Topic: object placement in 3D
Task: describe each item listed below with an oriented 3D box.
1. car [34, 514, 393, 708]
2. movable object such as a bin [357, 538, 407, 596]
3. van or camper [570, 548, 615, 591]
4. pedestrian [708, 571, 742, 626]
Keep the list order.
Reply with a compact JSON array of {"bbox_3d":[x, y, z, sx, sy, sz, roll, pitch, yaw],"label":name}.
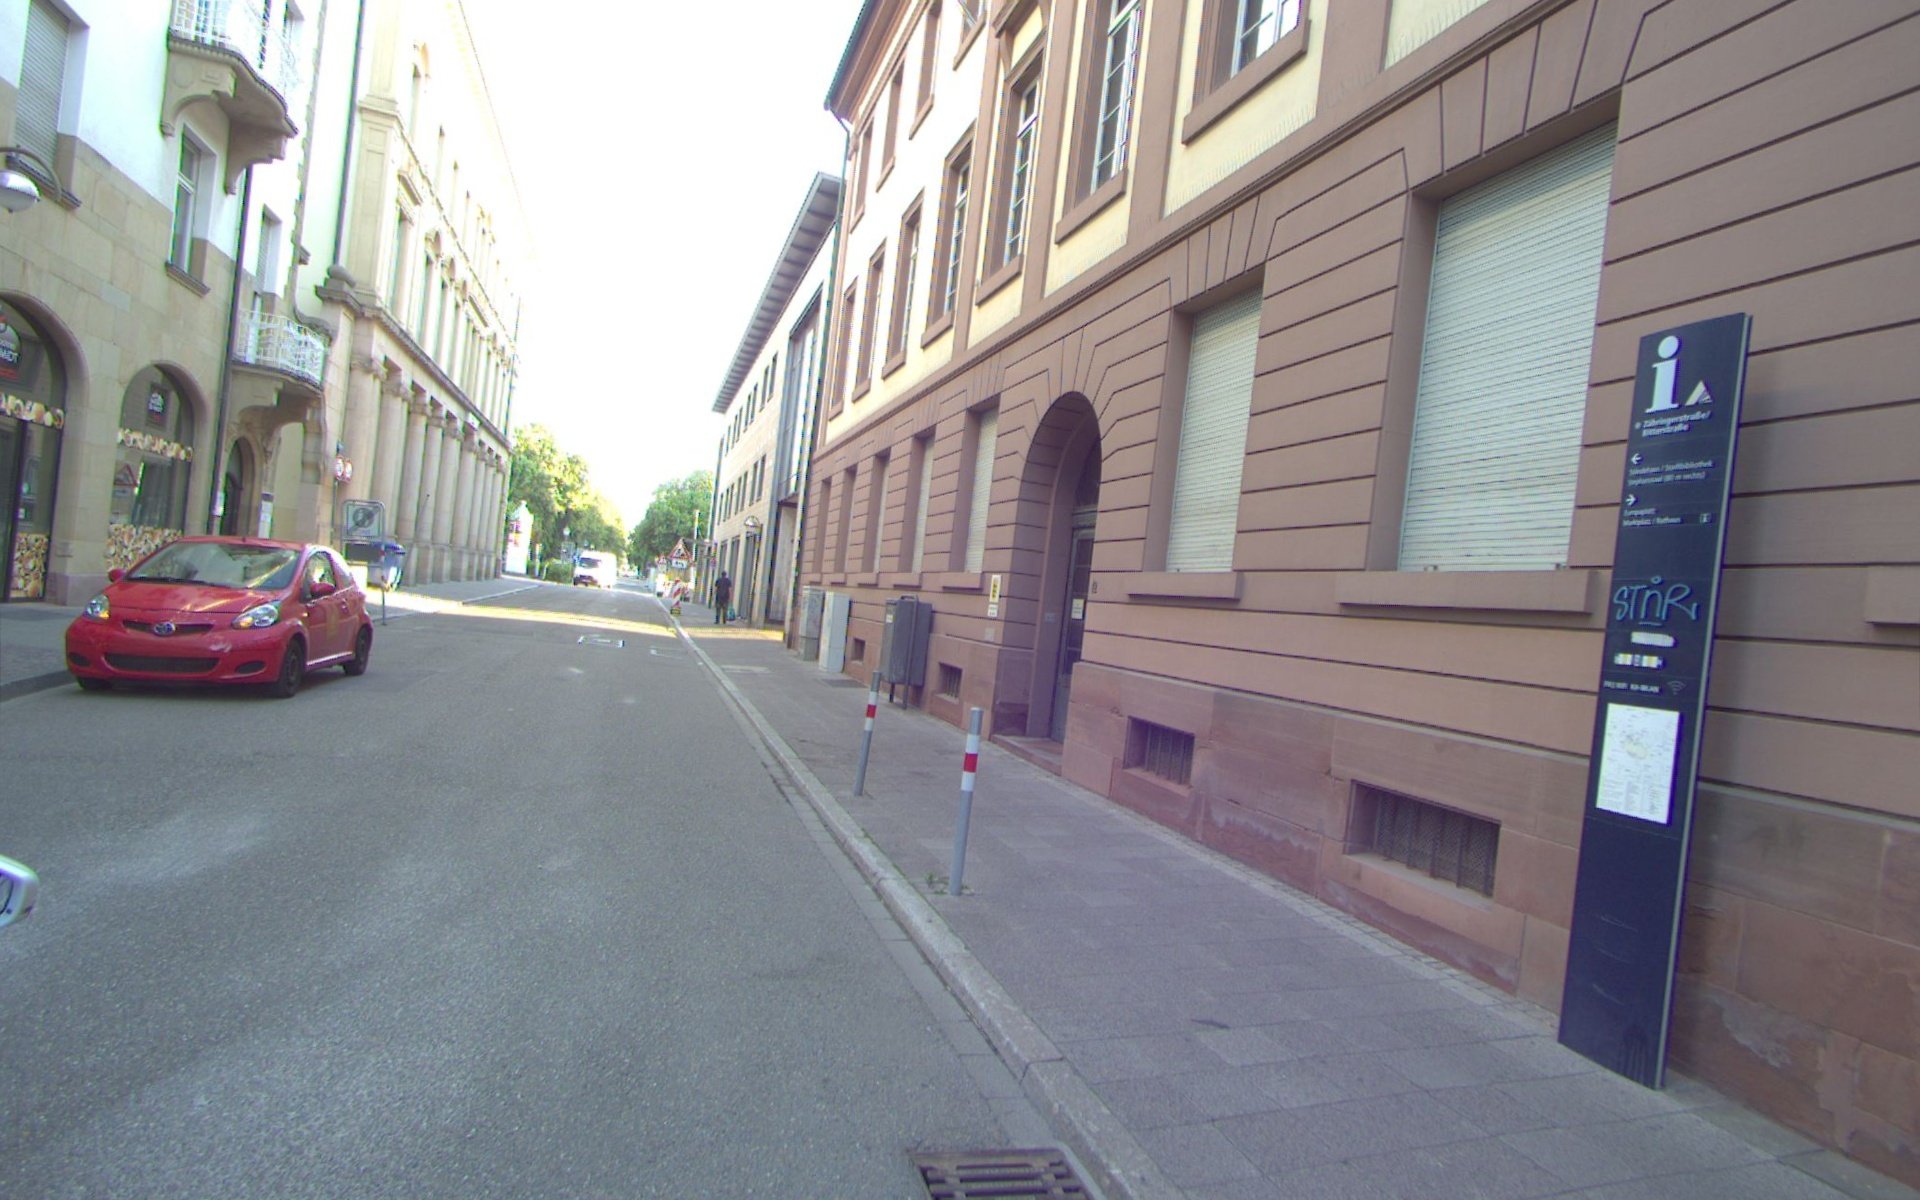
[{"bbox_3d":[-7.184,0.070,10.190,1.637,1.488,3.917,4,0,-17],"label":"car"},{"bbox_3d":[-16.397,-0.927,28.589,0.819,1.521,1.286,7,0,-18],"label":"movable object such as a bin"},{"bbox_3d":[-26.011,-2.142,71.419,2.192,2.616,6.351,7,0,-16],"label":"van or camper"},{"bbox_3d":[-8.010,-0.046,34.319,0.988,1.827,0.878,2,1,-19],"label":"pedestrian"}]
